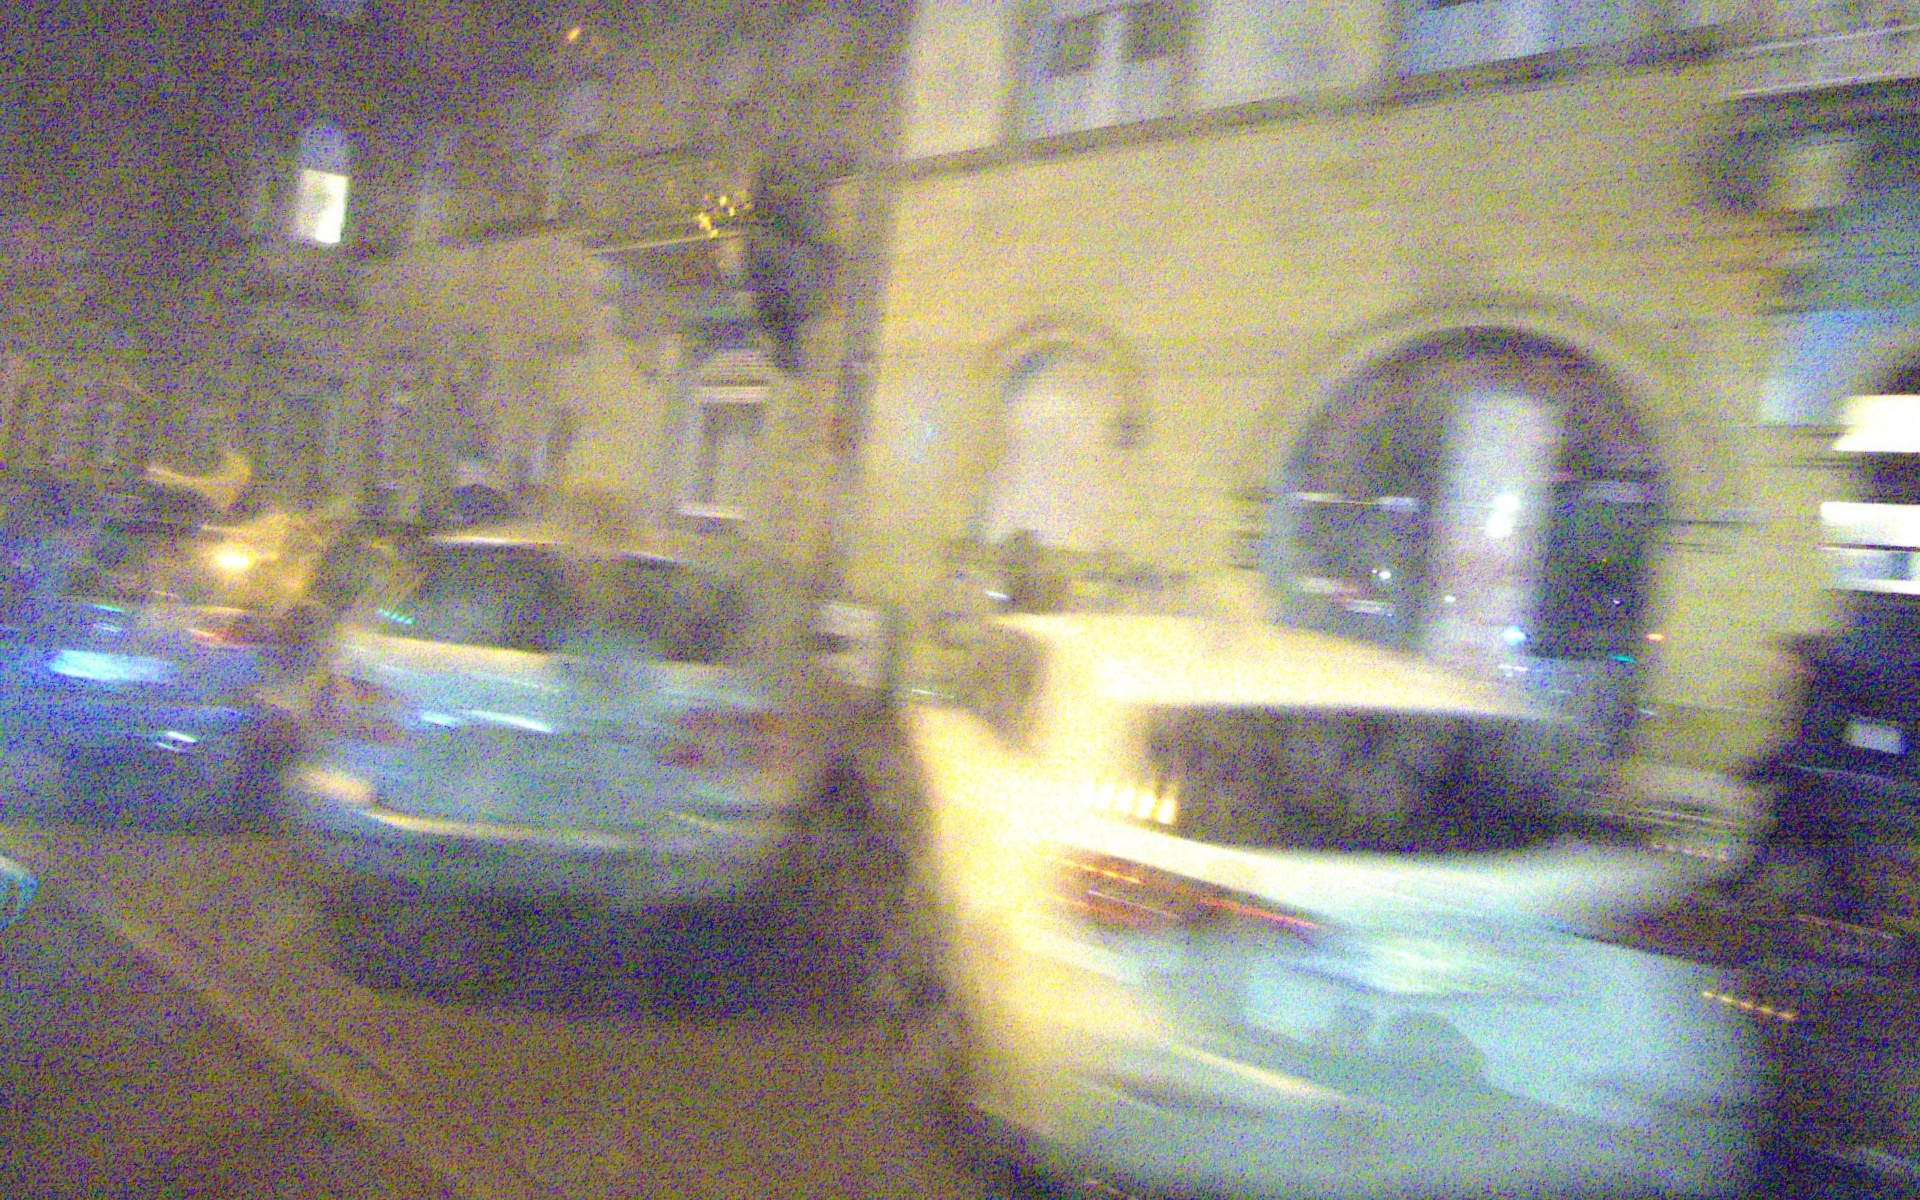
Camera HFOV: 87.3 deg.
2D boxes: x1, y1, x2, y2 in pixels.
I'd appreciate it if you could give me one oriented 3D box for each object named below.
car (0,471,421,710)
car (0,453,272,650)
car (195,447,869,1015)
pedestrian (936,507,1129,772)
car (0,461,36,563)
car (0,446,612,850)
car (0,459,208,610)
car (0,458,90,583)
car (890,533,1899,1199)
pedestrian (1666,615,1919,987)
[{"bbox_3d":[-6.580,-0.156,8.817,1.632,1.494,4.179,7,1,-5],"label":"car"},{"bbox_3d":[-9.150,-0.568,10.321,1.633,1.666,4.177,7,1,-8],"label":"car"},{"bbox_3d":[-1.526,0.390,5.261,1.849,1.597,4.180,7,1,-4],"label":"car"},{"bbox_3d":[0.592,0.303,8.063,0.984,1.905,0.958,8,1,34],"label":"pedestrian"},{"bbox_3d":[-16.480,-1.507,14.940,1.739,1.666,4.180,7,1,-5],"label":"car"},{"bbox_3d":[-3.885,0.144,6.436,1.699,1.610,4.182,7,1,0],"label":"car"},{"bbox_3d":[-11.443,-0.829,11.629,1.736,1.666,4.185,8,1,12],"label":"car"},{"bbox_3d":[-14.216,-1.222,13.004,1.736,1.666,4.185,8,1,12],"label":"car"},{"bbox_3d":[0.722,0.671,4.035,1.824,1.476,4.180,7,1,-4],"label":"car"},{"bbox_3d":[4.418,0.967,5.252,0.984,1.639,0.781,8,3,34],"label":"pedestrian"}]
